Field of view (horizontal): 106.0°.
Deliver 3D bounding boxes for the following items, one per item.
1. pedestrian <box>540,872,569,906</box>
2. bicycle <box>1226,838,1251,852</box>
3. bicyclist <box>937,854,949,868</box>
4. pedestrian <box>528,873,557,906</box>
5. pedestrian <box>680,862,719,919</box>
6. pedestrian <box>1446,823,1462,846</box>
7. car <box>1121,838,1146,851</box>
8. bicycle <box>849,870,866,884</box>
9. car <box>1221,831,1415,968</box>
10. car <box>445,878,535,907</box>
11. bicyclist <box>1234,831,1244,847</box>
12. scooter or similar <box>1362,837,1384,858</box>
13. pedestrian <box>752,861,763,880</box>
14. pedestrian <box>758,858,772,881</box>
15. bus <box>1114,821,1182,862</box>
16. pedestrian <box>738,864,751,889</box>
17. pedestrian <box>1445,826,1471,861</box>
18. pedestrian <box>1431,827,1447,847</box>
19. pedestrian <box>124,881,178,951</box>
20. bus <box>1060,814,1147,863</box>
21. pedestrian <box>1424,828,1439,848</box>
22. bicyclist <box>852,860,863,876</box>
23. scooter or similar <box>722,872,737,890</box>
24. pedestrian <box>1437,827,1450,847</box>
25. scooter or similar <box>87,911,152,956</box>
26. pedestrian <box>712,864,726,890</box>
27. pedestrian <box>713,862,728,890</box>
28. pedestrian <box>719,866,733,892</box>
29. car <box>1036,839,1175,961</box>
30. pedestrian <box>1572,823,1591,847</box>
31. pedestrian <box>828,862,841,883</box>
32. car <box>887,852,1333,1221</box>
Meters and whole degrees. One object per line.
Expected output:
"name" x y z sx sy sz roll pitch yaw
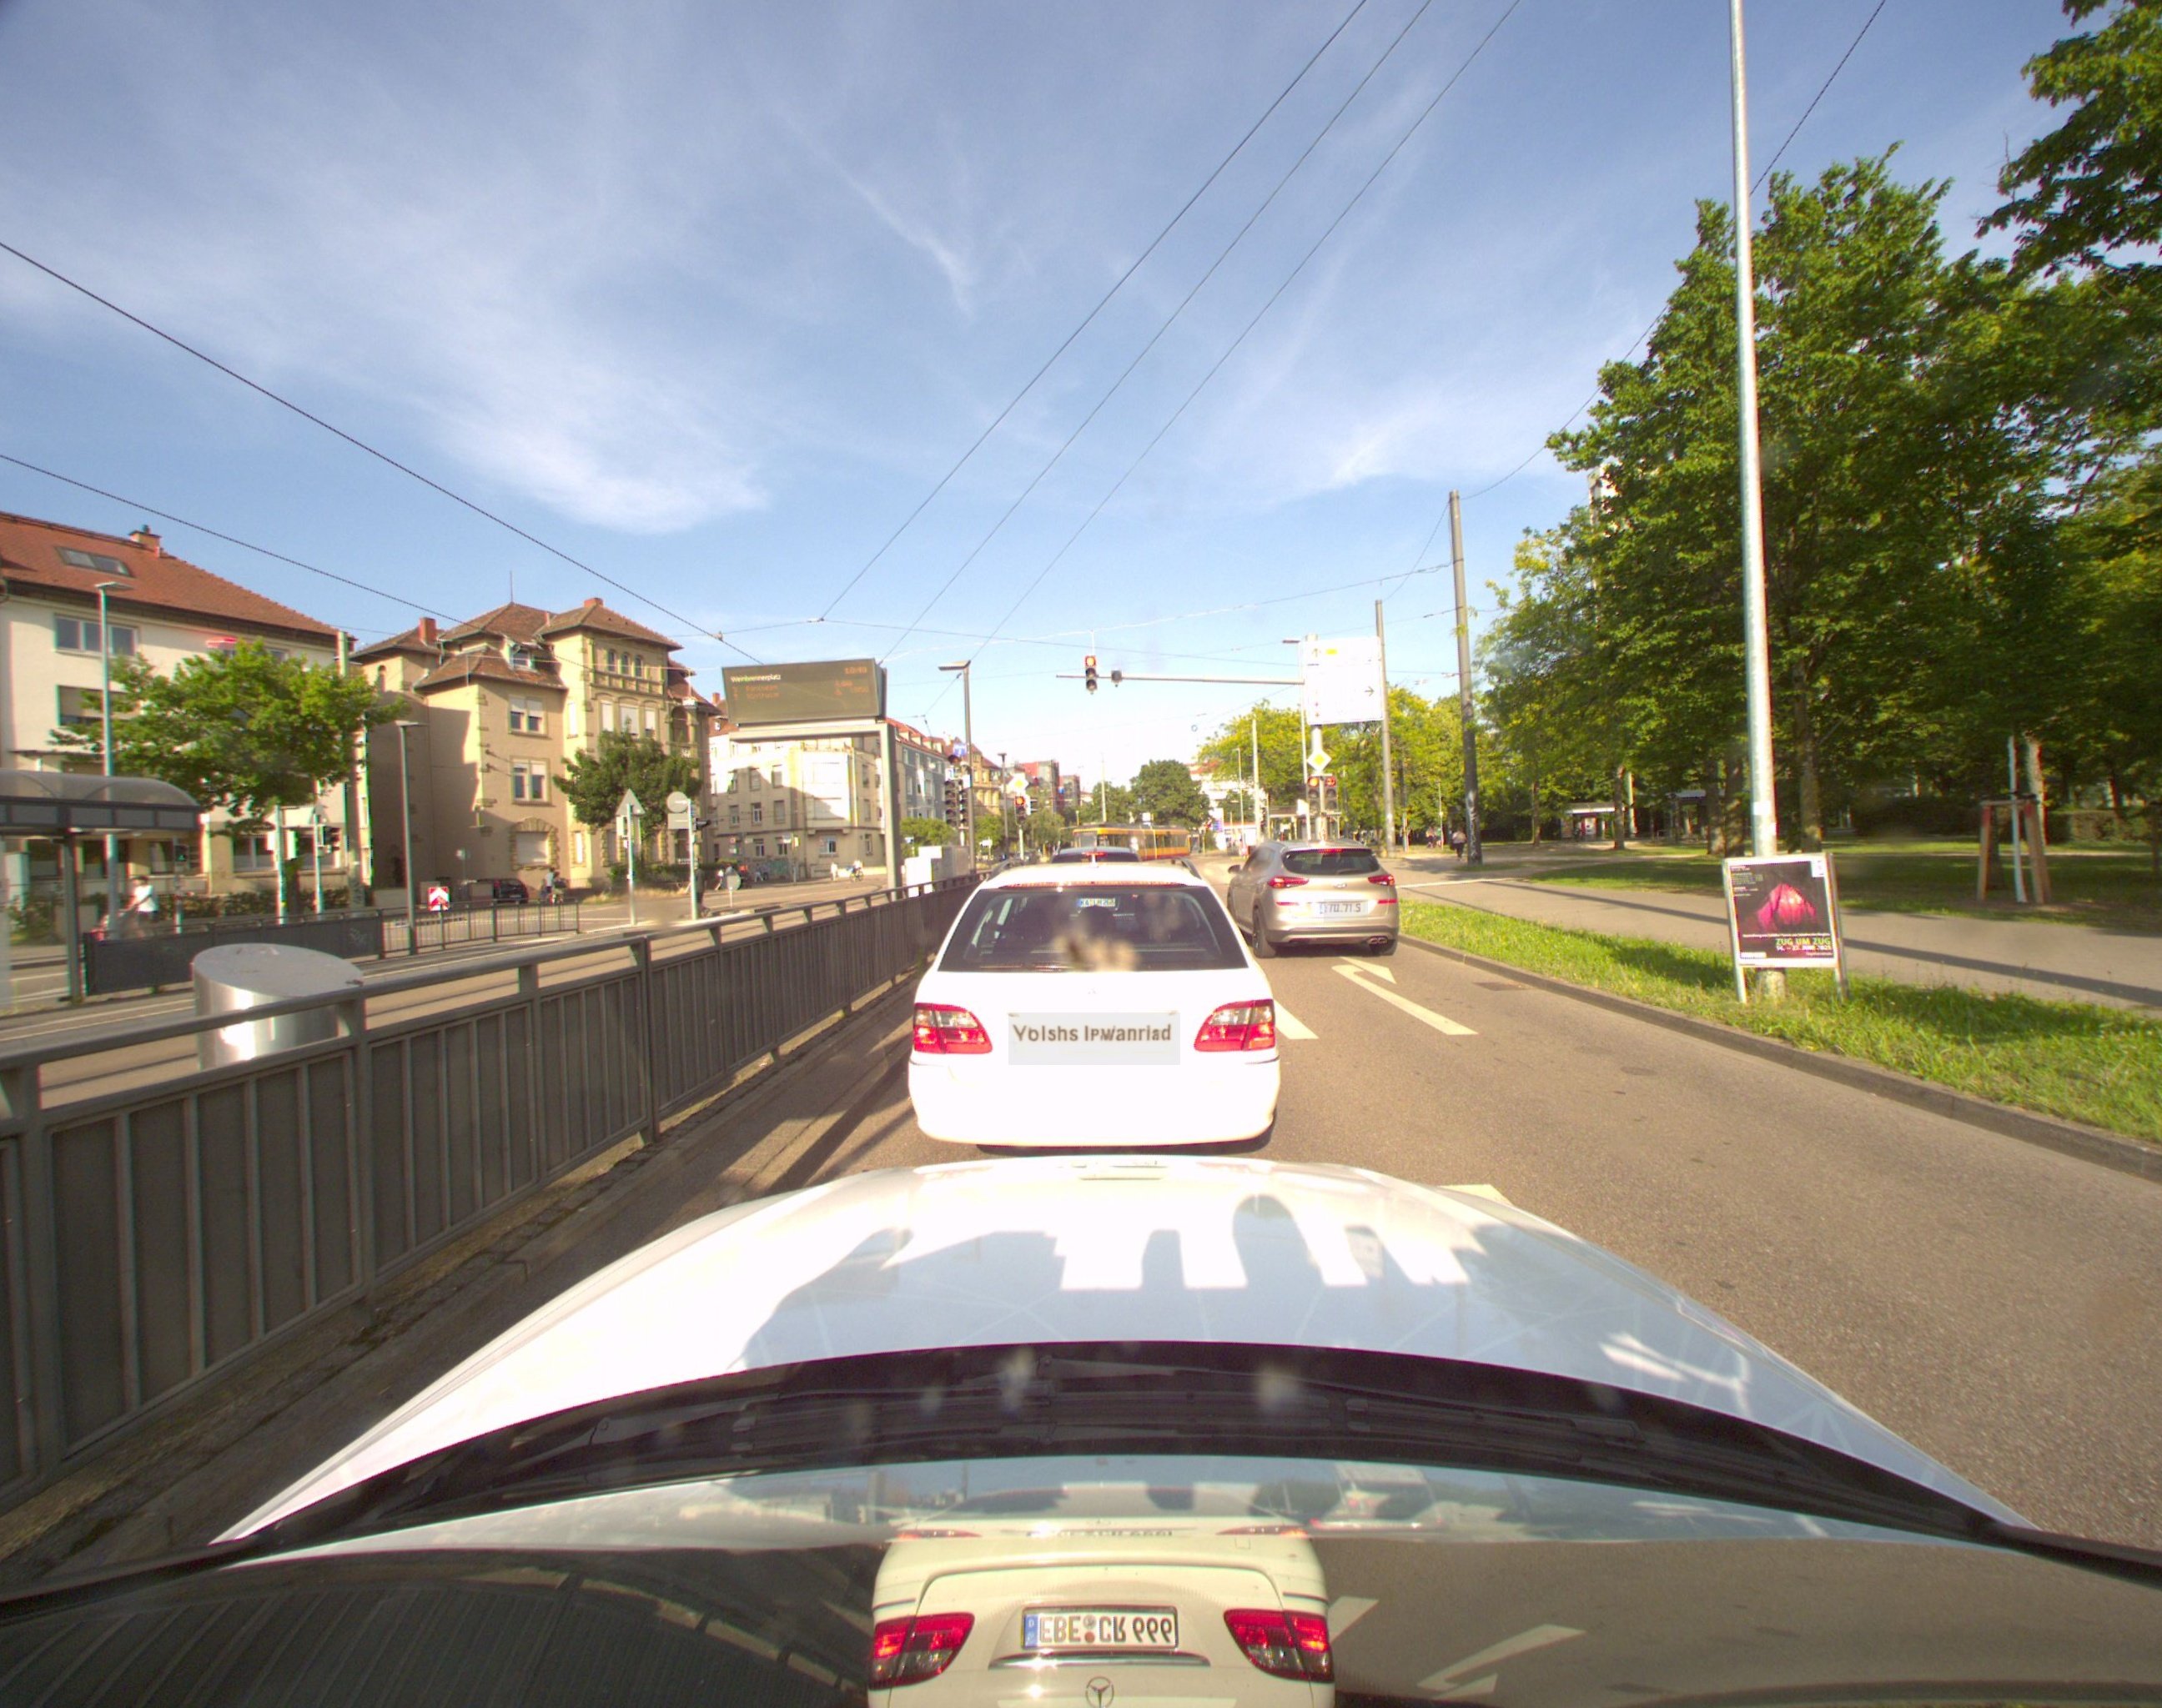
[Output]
"pedestrian" -25.244 1.683 39.072 0.822 1.552 0.786 -3 0 23
"bicycle" 15.930 -0.915 82.321 2.467 1.213 0.809 -3 0 9
"bicyclist" -13.064 0.635 77.003 0.759 1.262 1.176 -3 0 6
"pedestrian" -26.044 1.703 39.419 0.822 1.552 0.786 -3 0 23
"pedestrian" -11.449 1.095 24.443 0.798 1.645 0.748 -3 0 -42
"pedestrian" 29.107 -1.499 63.551 0.797 1.785 0.838 -3 0 -3
"car" 8.715 -1.581 134.750 3.973 2.014 2.000 -1 -1 0
"bicycle" -15.376 1.579 56.038 0.524 0.834 1.688 -3 0 3
"car" 3.329 0.568 12.197 1.878 1.651 3.649 -3 0 2
"car" -29.463 1.893 40.605 4.066 1.310 1.774 -1 -1 24
"bicyclist" 15.959 -1.513 82.300 0.855 1.481 0.791 -3 0 10
"scooter or similar" 16.245 -0.365 45.301 0.421 1.117 1.322 -3 0 -18
"pedestrian" -29.132 1.488 73.271 0.615 1.660 0.589 -3 0 17
"pedestrian" -28.733 1.379 74.057 0.768 2.013 0.790 -3 0 17
"bus" 6.683 -1.113 78.175 3.082 3.606 12.655 -1 0 21
"pedestrian" -20.739 1.405 50.235 0.530 1.500 0.391 -3 0 16
"pedestrian" 18.016 -0.485 38.964 0.758 1.636 0.800 -3 0 -38
"pedestrian" 28.091 -1.345 63.931 0.813 1.487 0.698 -3 0 -9
"pedestrian" -24.032 1.584 21.051 0.549 1.746 0.758 -3 0 -19
"bus" 2.144 -1.102 66.431 3.082 3.606 12.439 -1 0 21
"pedestrian" 27.243 -1.263 63.342 0.820 1.487 0.692 -3 0 -40
"bicyclist" -15.393 0.981 56.071 0.510 1.044 0.680 -3 0 3
"scooter or similar" -21.385 1.622 49.554 0.541 1.079 0.683 -1 -1 1
"pedestrian" 27.756 -1.324 62.426 0.805 1.487 0.705 -3 0 26
"scooter or similar" -23.795 1.944 20.174 0.558 0.988 1.016 -3 0 -19
"pedestrian" -21.211 1.339 47.677 0.434 1.500 0.551 -3 0 16
"pedestrian" -21.645 1.296 48.889 0.506 1.626 0.609 -3 0 3
"pedestrian" -21.061 1.506 48.272 0.434 1.500 0.551 -3 0 16
"car" 0.402 0.618 12.919 1.878 1.651 3.649 0 0 2
"pedestrian" 35.845 -1.342 58.369 0.831 1.636 0.804 -3 0 8
"pedestrian" -18.680 1.410 61.753 0.626 1.541 0.711 -3 0 1
"car" 0.173 0.742 5.146 1.789 1.470 3.649 -1 0 2
